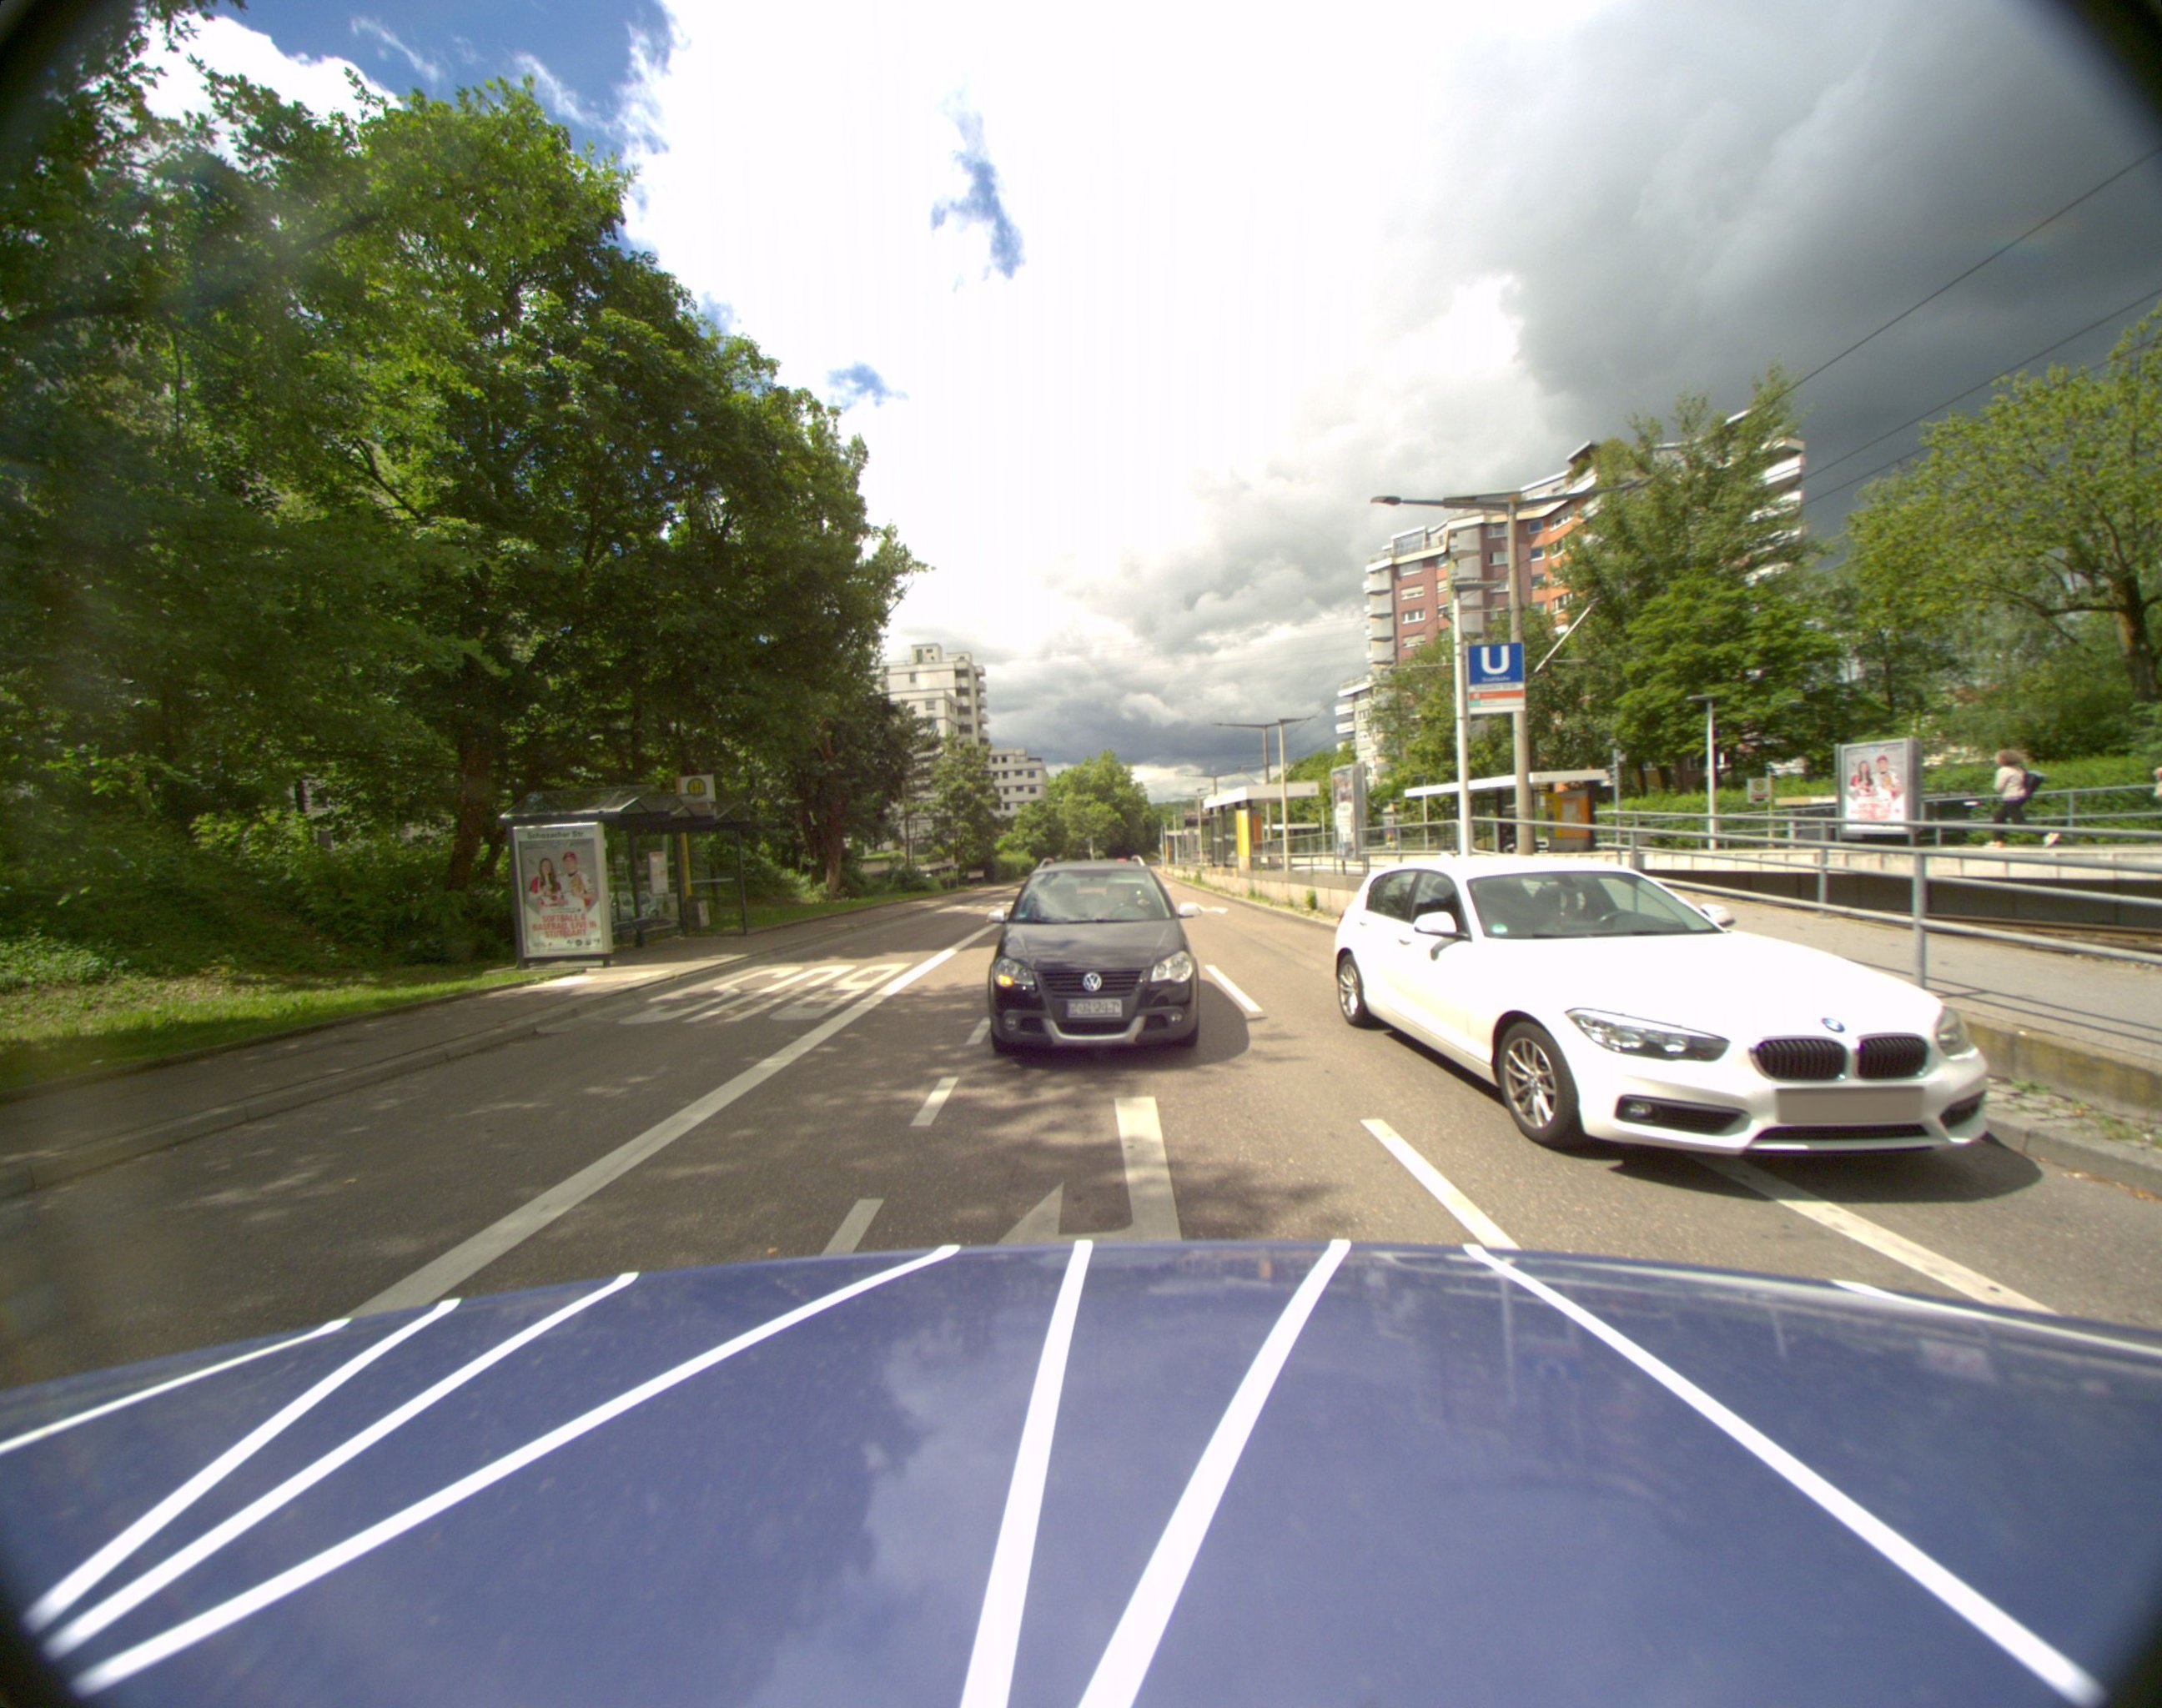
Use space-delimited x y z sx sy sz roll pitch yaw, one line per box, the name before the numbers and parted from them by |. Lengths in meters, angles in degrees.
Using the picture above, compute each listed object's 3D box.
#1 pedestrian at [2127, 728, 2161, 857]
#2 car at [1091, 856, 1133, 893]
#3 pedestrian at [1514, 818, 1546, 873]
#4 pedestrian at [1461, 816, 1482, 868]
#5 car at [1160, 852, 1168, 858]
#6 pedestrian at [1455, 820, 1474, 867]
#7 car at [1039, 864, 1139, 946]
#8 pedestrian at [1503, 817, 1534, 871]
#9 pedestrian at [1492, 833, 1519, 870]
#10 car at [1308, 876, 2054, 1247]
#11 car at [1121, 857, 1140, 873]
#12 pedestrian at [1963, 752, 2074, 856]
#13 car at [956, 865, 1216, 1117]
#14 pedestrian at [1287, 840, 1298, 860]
pedestrian | 15.165 -0.852 10.322 0.865 1.763 0.747 -2 1 0
car | 1.444 0.943 36.719 1.846 1.553 3.999 -2 1 1
pedestrian | 16.245 -0.303 27.483 0.771 1.920 0.573 -2 1 -1
pedestrian | 16.468 -0.497 32.073 0.532 2.129 0.608 -2 1 4
car | 18.600 0.120 170.510 1.805 1.208 4.023 -2 1 6
pedestrian | 16.609 -0.470 32.916 0.517 2.002 0.557 -2 1 1
car | 0.161 0.958 15.867 1.819 1.483 4.001 -1 -1 0
pedestrian | 16.387 -0.372 28.449 0.780 2.002 0.584 -2 1 1
pedestrian | 16.513 -0.090 29.567 0.645 1.407 0.658 -2 1 1
car | 3.110 0.915 5.262 1.794 1.442 4.276 0 -1 0
car | 5.017 1.066 76.594 1.845 1.409 4.001 -2 1 4
pedestrian | 15.188 -0.792 12.334 0.865 1.597 0.747 -2 1 0
car | 0.053 0.949 6.975 1.681 1.529 3.793 -2 1 1
pedestrian | 18.279 -0.328 65.545 0.774 1.696 0.766 -2 1 9
